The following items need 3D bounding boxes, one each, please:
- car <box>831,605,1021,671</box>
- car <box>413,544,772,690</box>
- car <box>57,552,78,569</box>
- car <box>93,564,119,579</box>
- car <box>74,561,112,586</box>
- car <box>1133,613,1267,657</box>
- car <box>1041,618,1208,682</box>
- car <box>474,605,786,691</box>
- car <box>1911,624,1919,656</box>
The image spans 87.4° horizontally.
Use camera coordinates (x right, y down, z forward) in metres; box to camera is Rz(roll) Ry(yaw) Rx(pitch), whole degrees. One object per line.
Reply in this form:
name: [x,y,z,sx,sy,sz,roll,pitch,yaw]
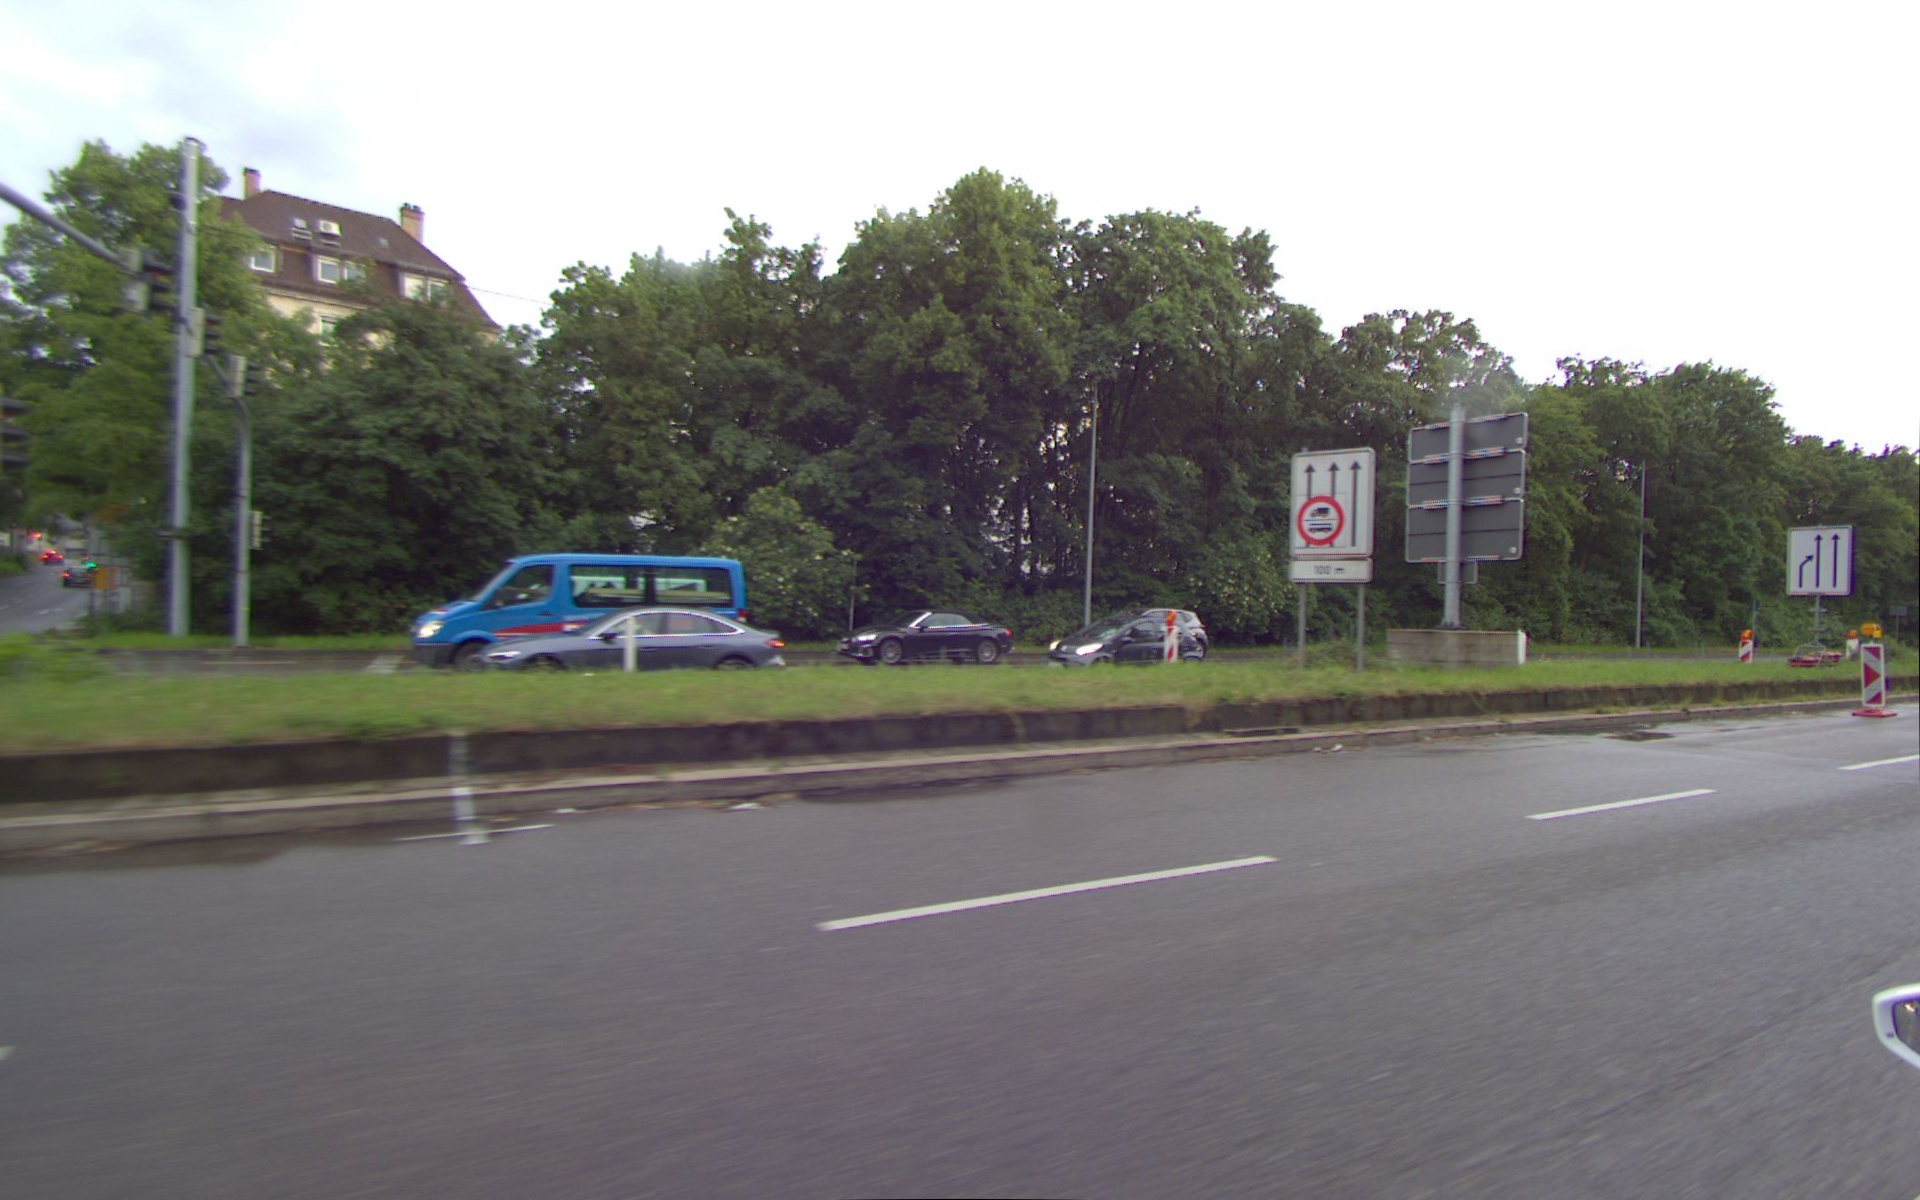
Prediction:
car: [-0.840,0.955,25.812,4.576,1.544,1.786,1,0,-28]
car: [-6.903,0.282,19.173,6.166,2.423,2.186,0,1,-29]
car: [-102.861,-4.523,115.812,1.577,1.755,3.465,1,0,-38]
car: [-74.696,-2.470,87.897,1.577,1.179,3.465,1,0,-38]
car: [-61.908,-1.843,71.748,1.861,1.680,3.465,1,0,-38]
car: [7.193,1.041,30.040,3.881,1.216,1.542,1,0,-28]
car: [3.454,1.023,21.048,3.259,1.216,1.424,1,0,-28]
car: [-5.242,0.740,16.116,4.586,1.216,1.543,1,0,-27]
car: [56.649,2.288,57.670,4.780,1.805,1.903,0,0,-33]
